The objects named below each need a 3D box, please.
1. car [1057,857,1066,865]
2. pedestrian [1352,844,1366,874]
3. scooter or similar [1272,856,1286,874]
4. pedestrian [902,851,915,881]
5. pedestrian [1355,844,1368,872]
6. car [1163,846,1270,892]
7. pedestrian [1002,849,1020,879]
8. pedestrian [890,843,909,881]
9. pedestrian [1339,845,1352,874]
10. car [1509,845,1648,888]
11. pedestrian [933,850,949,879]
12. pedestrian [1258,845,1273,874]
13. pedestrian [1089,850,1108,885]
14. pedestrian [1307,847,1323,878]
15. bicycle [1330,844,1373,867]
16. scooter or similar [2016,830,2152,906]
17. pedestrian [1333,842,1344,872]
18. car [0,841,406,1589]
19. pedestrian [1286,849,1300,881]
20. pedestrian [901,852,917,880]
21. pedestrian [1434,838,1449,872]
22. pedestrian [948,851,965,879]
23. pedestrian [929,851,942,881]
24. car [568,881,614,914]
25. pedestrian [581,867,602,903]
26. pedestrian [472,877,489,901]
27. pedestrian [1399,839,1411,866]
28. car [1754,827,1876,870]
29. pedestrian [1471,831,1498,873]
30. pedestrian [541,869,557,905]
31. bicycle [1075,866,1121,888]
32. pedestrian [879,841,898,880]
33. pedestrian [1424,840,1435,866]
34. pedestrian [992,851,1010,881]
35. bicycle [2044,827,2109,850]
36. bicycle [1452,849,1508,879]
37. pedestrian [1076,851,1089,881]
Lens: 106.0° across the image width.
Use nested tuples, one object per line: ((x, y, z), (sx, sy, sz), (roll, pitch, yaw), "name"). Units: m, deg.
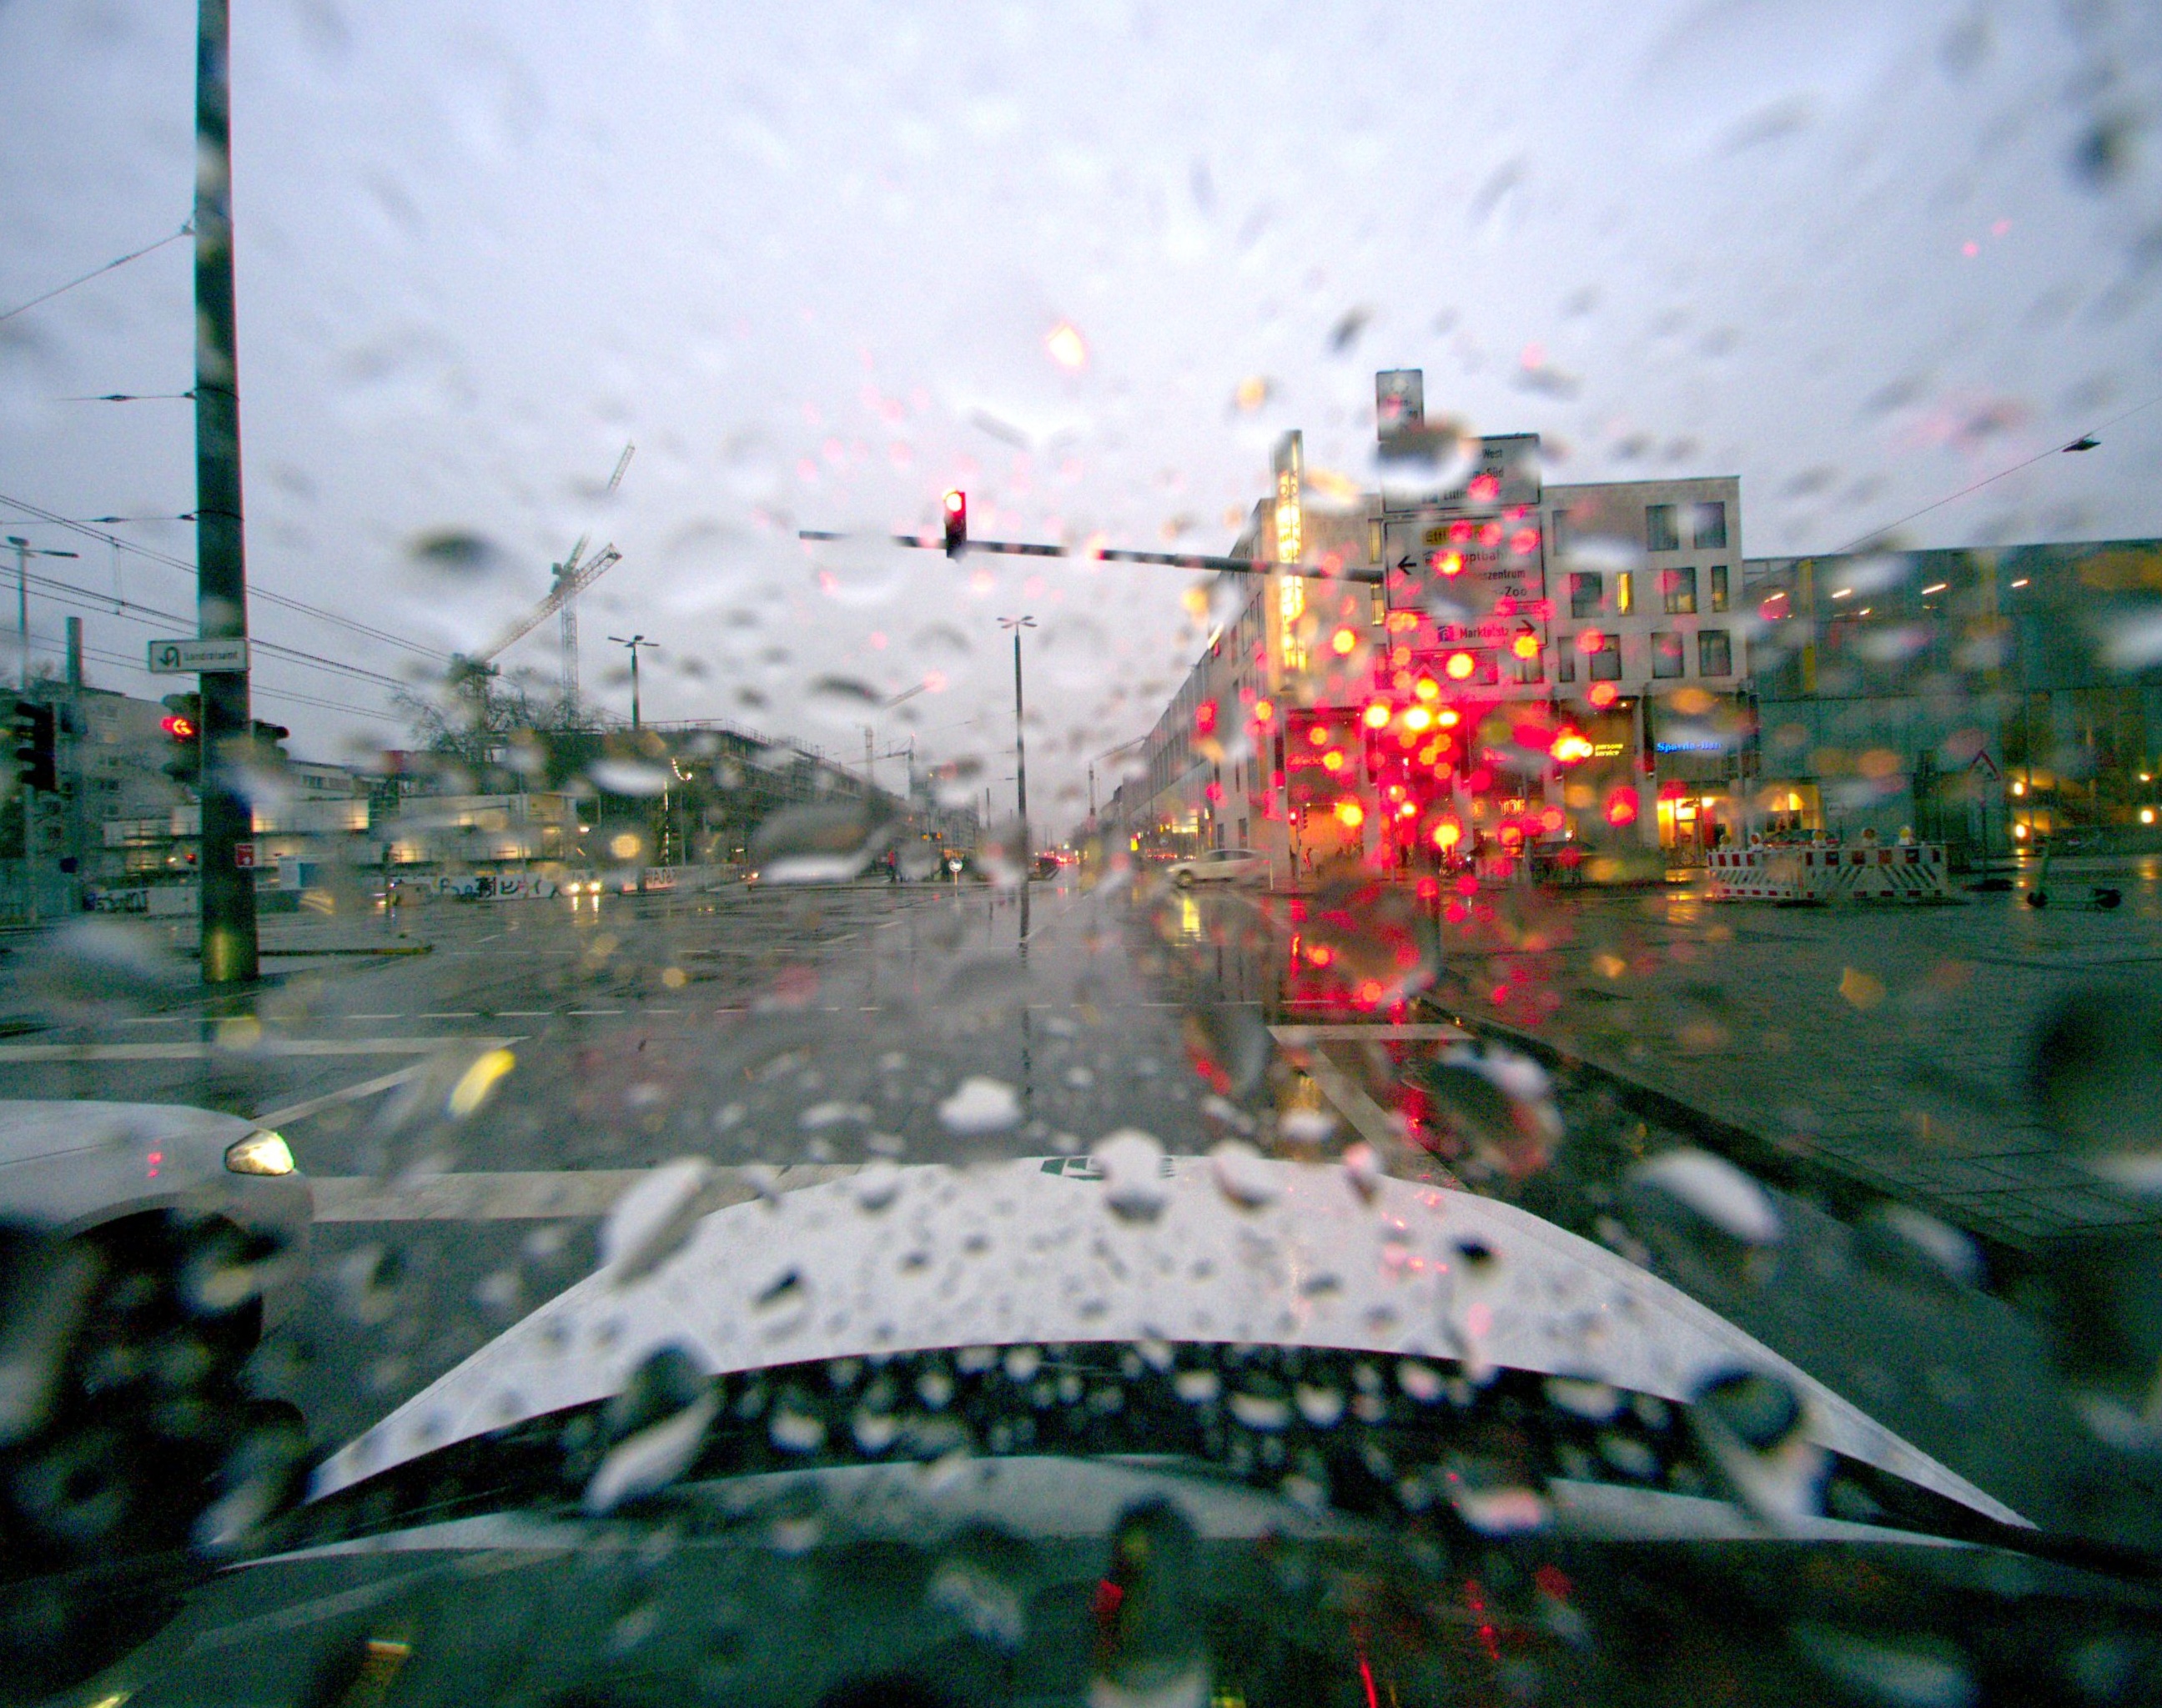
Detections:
((-4.506, 1.698, 192.333), (1.881, 1.783, 3.715), (-1, -1, 2), "car")
((16.534, 0.310, 48.437), (0.615, 1.760, 0.482), (-2, -1, 1), "pedestrian")
((11.414, 0.624, 46.971), (0.737, 0.993, 0.401), (-2, -1, 8), "scooter or similar")
((-10.232, 0.721, 48.269), (0.617, 1.746, 0.612), (-2, -1, -4), "pedestrian")
((17.156, 0.259, 49.844), (0.530, 1.718, 0.505), (-3, -1, 39), "pedestrian")
((5.692, 0.635, 34.525), (4.283, 1.761, 1.709), (-2, 0, 4), "car")
((-4.099, 0.585, 47.536), (0.837, 1.688, 0.679), (-2, -1, 11), "pedestrian")
((-9.920, 0.442, 44.595), (0.781, 2.013, 0.606), (-2, -1, -37), "pedestrian")
((16.200, 0.326, 49.850), (0.530, 1.718, 0.505), (-3, -1, 39), "pedestrian")
((20.458, 0.506, 33.665), (4.508, 1.574, 1.802), (-2, 0, 10), "car")
((-8.052, 0.588, 46.854), (0.704, 1.619, 0.613), (-2, -1, -1), "pedestrian")
((10.661, 0.330, 47.083), (0.737, 1.667, 0.401), (-2, -1, 8), "pedestrian")
((0.805, 0.625, 37.931), (0.812, 1.570, 0.536), (-2, -1, -3), "pedestrian")
((13.799, 0.500, 47.962), (0.700, 1.760, 0.668), (-2, -1, 1), "pedestrian")
((16.890, 0.074, 50.842), (2.420, 1.329, 0.634), (-2, 0, -4), "bicycle")
((15.832, 0.213, 12.896), (0.603, 1.130, 1.236), (-2, 0, 2), "scooter or similar")
((15.466, 0.184, 48.933), (0.510, 1.760, 0.374), (-2, -1, 1), "pedestrian")
((-3.187, 0.761, 0.173), (1.903, 1.520, 4.923), (-2, 0, 0), "car")
((12.077, 0.625, 46.371), (0.631, 1.772, 0.484), (-2, -1, 0), "pedestrian")
((-9.828, 0.685, 46.632), (0.704, 1.619, 0.681), (-2, -1, 3), "pedestrian")
((18.321, 0.037, 41.394), (0.530, 1.685, 0.552), (-3, -1, 39), "pedestrian")
((-7.198, 0.639, 47.230), (0.806, 1.607, 0.746), (-2, -1, 1), "pedestrian")
((-8.621, 0.709, 48.265), (0.617, 1.746, 0.612), (-2, -1, -4), "pedestrian")
((-33.581, 2.949, 55.924), (1.760, 2.013, 3.977), (-2, 0, -17), "car")
((-28.370, 1.806, 47.215), (0.792, 2.013, 0.745), (-2, 0, -9), "pedestrian")
((-40.581, 2.362, 55.045), (0.638, 1.529, 0.801), (-3, -1, 41), "pedestrian")
((20.871, -0.103, 52.527), (0.530, 1.718, 0.505), (-3, -1, 39), "pedestrian")
((30.416, -0.203, 33.820), (3.558, 1.582, 1.676), (-2, -1, -1), "car")
((15.534, -0.074, 31.370), (0.775, 1.595, 0.616), (-2, -1, 17), "pedestrian")
((-30.213, 1.871, 46.235), (0.507, 2.014, 0.638), (-2, -2, -9), "pedestrian")
((0.803, 1.078, 37.939), (2.122, 0.991, 0.541), (-1, -1, -2), "bicycle")
((-10.377, 0.349, 43.899), (0.691, 2.087, 0.606), (-2, -1, -39), "pedestrian")
((23.914, -0.077, 55.935), (0.530, 1.718, 0.505), (-3, -1, 39), "pedestrian")
((-4.566, 0.683, 46.662), (0.826, 1.679, 0.621), (-2, -1, 10), "pedestrian")
((48.596, -0.751, 39.776), (0.613, 1.033, 2.138), (-2, 0, 3), "bicycle")
((15.390, 0.392, 31.422), (1.831, 1.093, 0.620), (-2, -1, 16), "bicycle")
((0.078, 0.713, 47.968), (0.700, 1.760, 0.652), (-2, -1, 1), "pedestrian")
